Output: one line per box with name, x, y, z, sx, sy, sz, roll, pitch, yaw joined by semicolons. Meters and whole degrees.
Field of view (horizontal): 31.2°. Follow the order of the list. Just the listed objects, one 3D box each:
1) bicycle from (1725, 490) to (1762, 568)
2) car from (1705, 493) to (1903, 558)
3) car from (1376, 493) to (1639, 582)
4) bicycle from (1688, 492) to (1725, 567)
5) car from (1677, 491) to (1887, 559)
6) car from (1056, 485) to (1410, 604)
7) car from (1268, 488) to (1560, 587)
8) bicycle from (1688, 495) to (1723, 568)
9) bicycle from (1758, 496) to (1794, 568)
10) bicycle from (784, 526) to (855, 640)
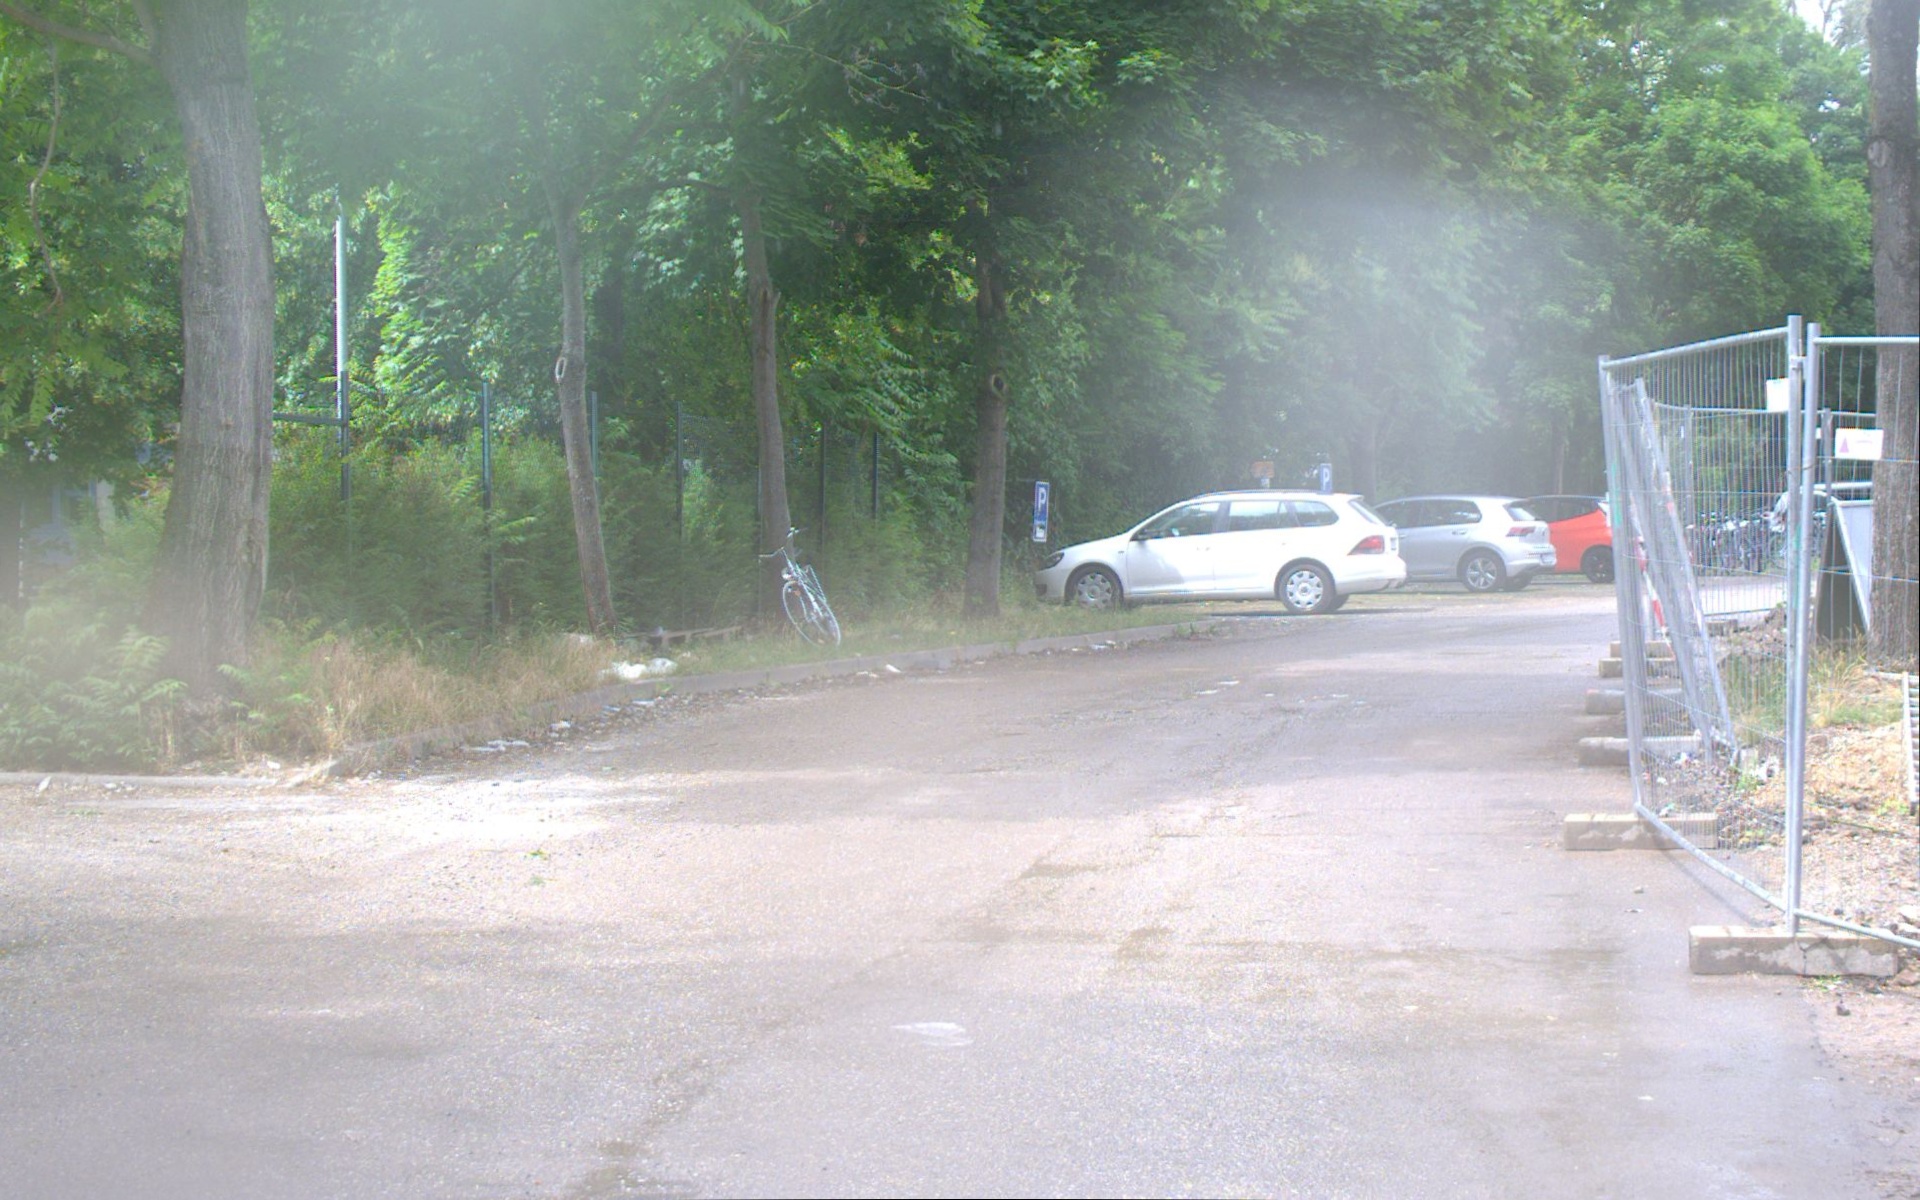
bicycle;13.517;-1.212;59.316;0.596;1.303;2.667;0;1;13
car;19.028;-1.674;77.524;4.039;1.404;1.979;1;1;24
car;8.899;-1.015;55.768;4.037;1.404;1.980;1;0;14
bicycle;12.908;-1.200;59.437;0.596;1.262;2.667;0;1;13
car;17.479;-1.596;73.128;4.039;1.404;1.979;1;1;24
car;3.360;-0.677;42.003;4.037;1.404;1.980;1;0;14
car;6.686;-0.912;50.515;4.037;1.404;1.980;1;0;14
bicycle;13.784;-1.251;63.544;0.596;1.303;2.667;0;1;13
bicycle;15.009;-1.240;63.237;0.596;1.303;2.667;0;1;13
bicycle;-1.152;-0.155;28.308;0.467;0.876;1.570;0;2;2
